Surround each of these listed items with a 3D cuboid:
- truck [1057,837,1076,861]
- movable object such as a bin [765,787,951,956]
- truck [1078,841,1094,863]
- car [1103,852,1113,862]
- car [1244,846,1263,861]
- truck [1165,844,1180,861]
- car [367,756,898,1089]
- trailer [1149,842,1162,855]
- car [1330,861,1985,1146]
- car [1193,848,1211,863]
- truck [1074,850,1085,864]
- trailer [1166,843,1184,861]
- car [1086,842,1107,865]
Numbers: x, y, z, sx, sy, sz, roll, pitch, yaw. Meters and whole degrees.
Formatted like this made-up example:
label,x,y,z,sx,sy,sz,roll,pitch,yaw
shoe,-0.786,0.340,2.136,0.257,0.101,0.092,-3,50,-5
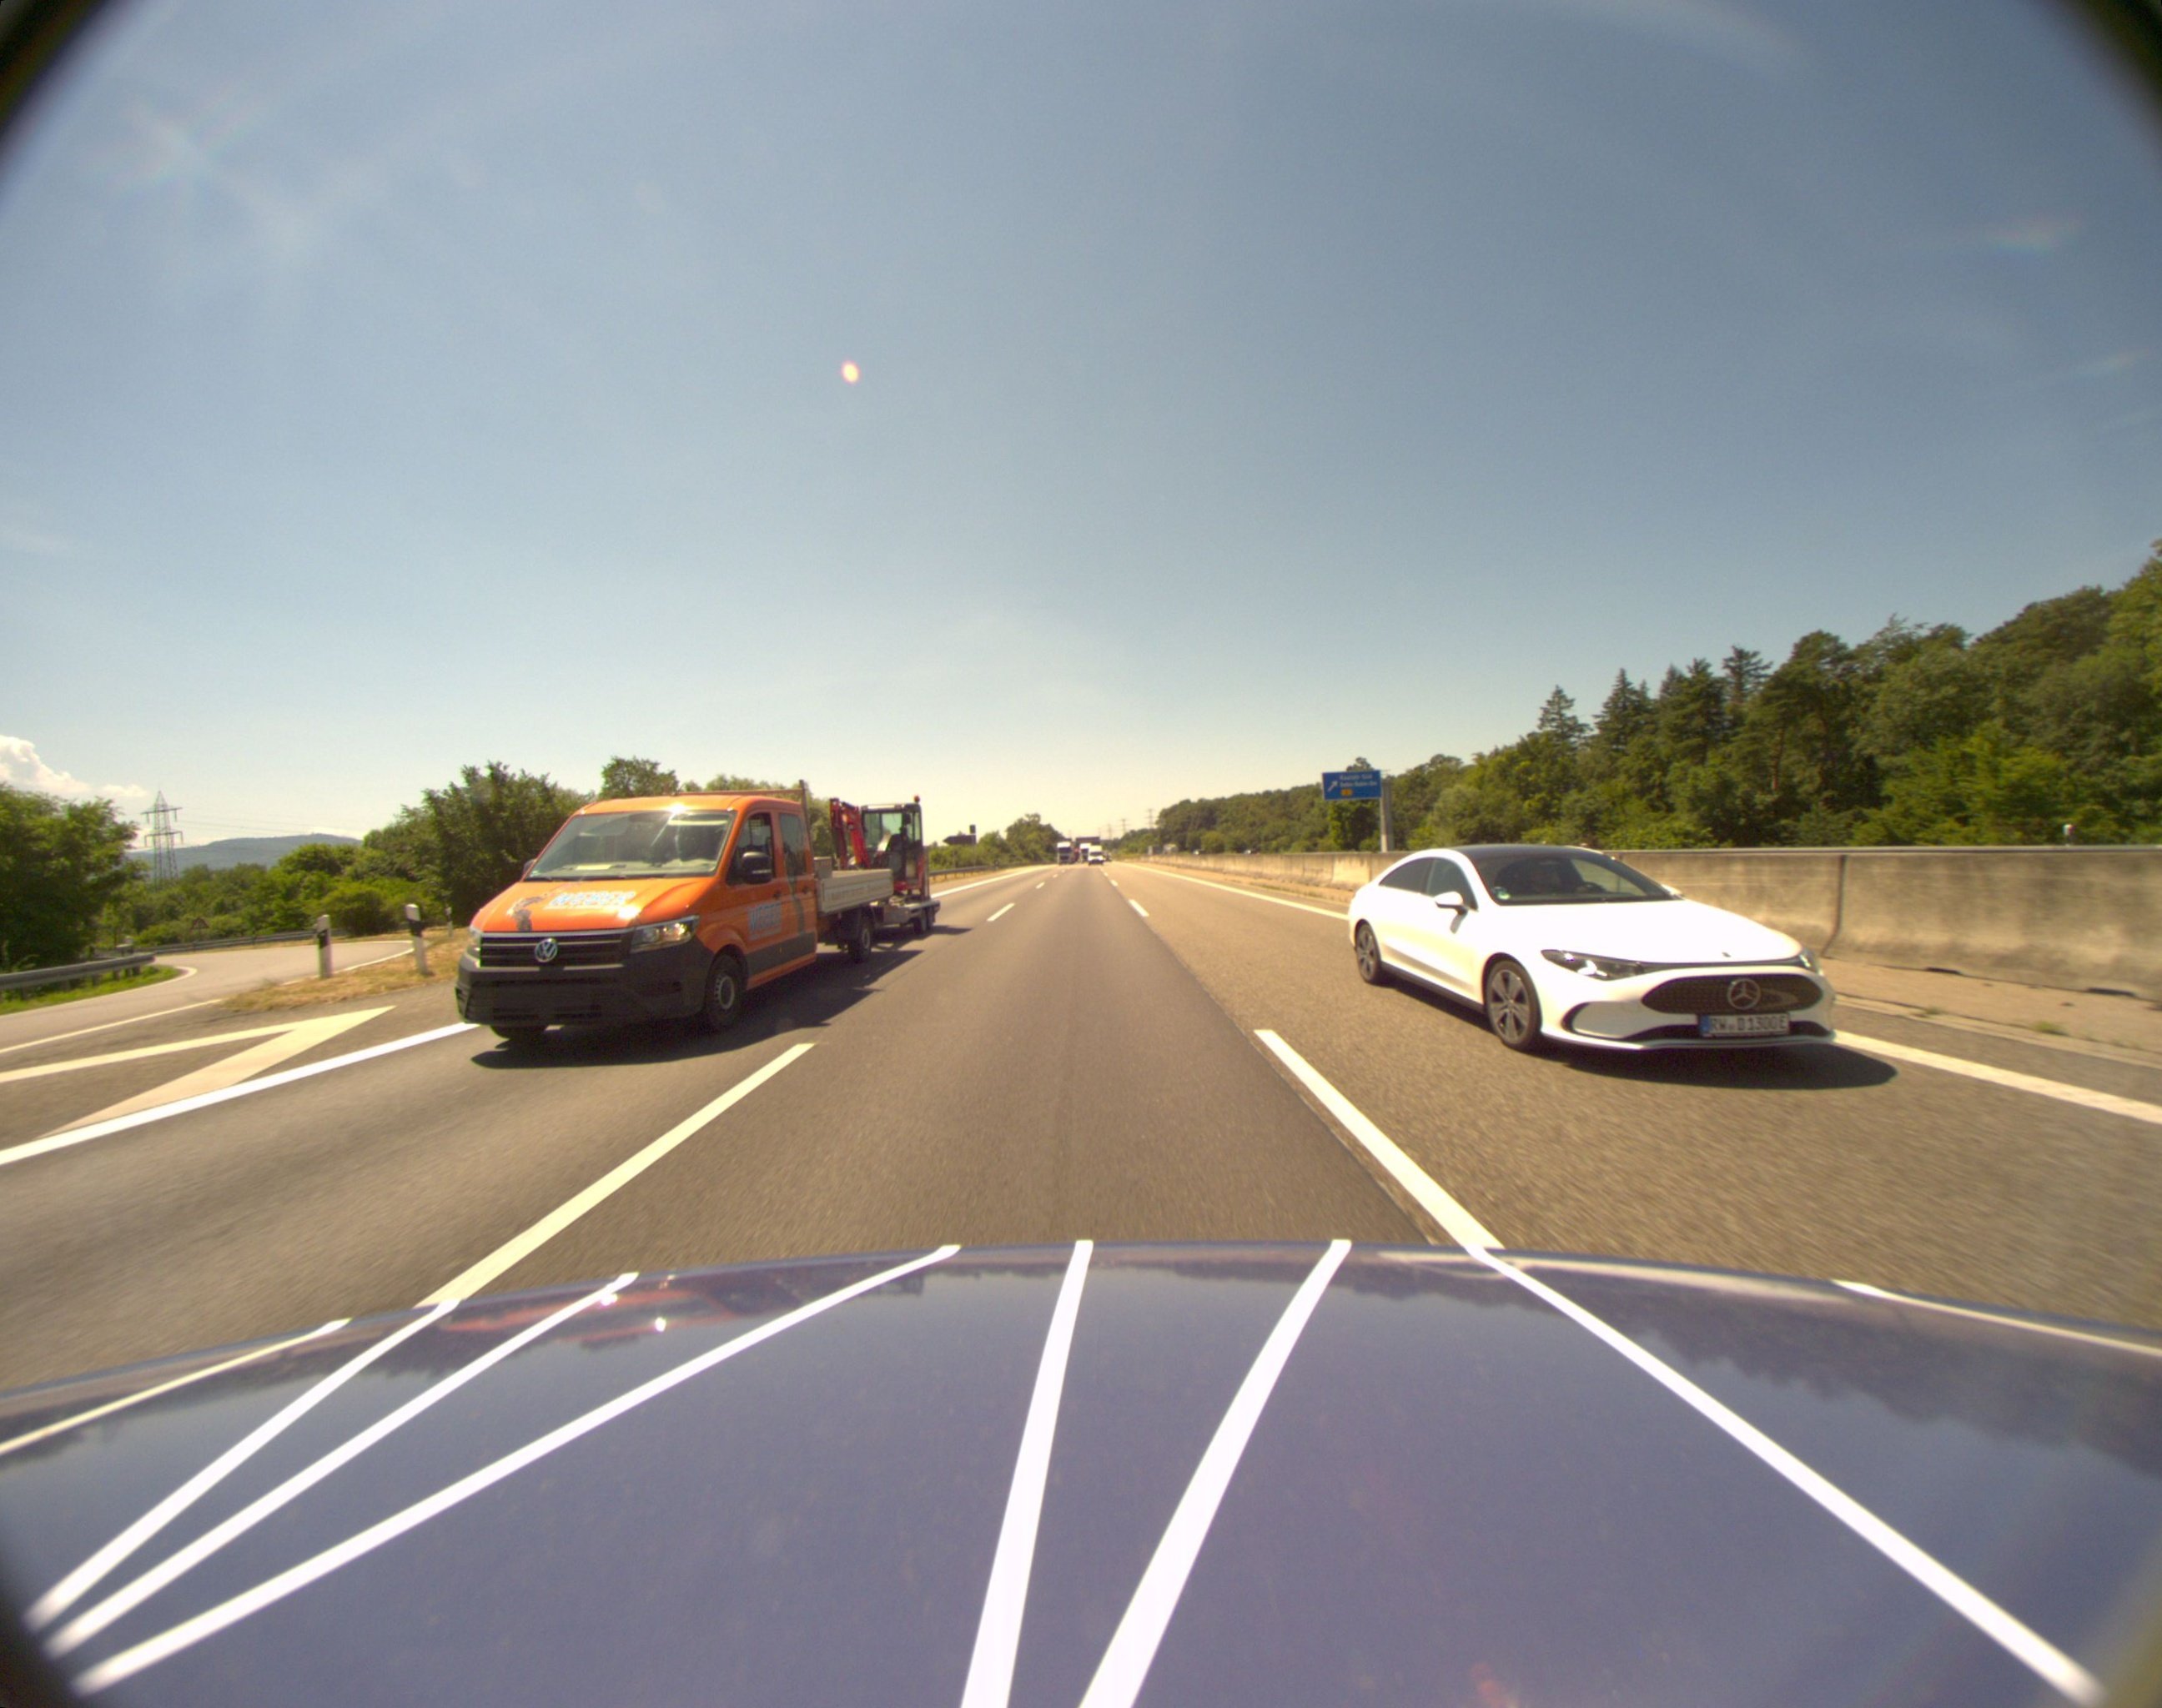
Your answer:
label,x,y,z,sx,sy,sz,roll,pitch,yaw
truck,-2.651,-0.844,141.099,2.990,4.187,7.593,-3,0,2
movable object such as a bin,-4.219,0.299,15.360,2.179,2.799,4.761,-2,0,1
truck,1.093,-0.440,160.188,2.700,4.231,8.244,-5,0,2
car,5.700,0.597,161.180,1.998,2.001,4.001,-2,-1,1
car,25.453,-0.065,112.264,1.998,2.002,4.429,-2,0,2
truck,23.643,-0.388,196.670,2.814,4.023,7.730,-5,0,0
car,-4.191,0.510,9.247,1.998,2.391,7.226,-2,0,1
trailer,24.532,-1.757,250.403,2.992,4.052,11.775,-3,0,1
car,3.840,0.806,6.516,1.771,1.440,5.108,-1,0,1
car,17.658,0.162,111.072,1.998,2.002,4.000,-5,0,1
truck,-0.419,0.908,222.233,2.852,3.747,6.495,-5,0,1
trailer,23.701,-0.457,192.639,2.814,4.023,10.430,-5,0,0
car,2.157,-0.039,103.144,2.521,2.857,6.400,-5,0,2
